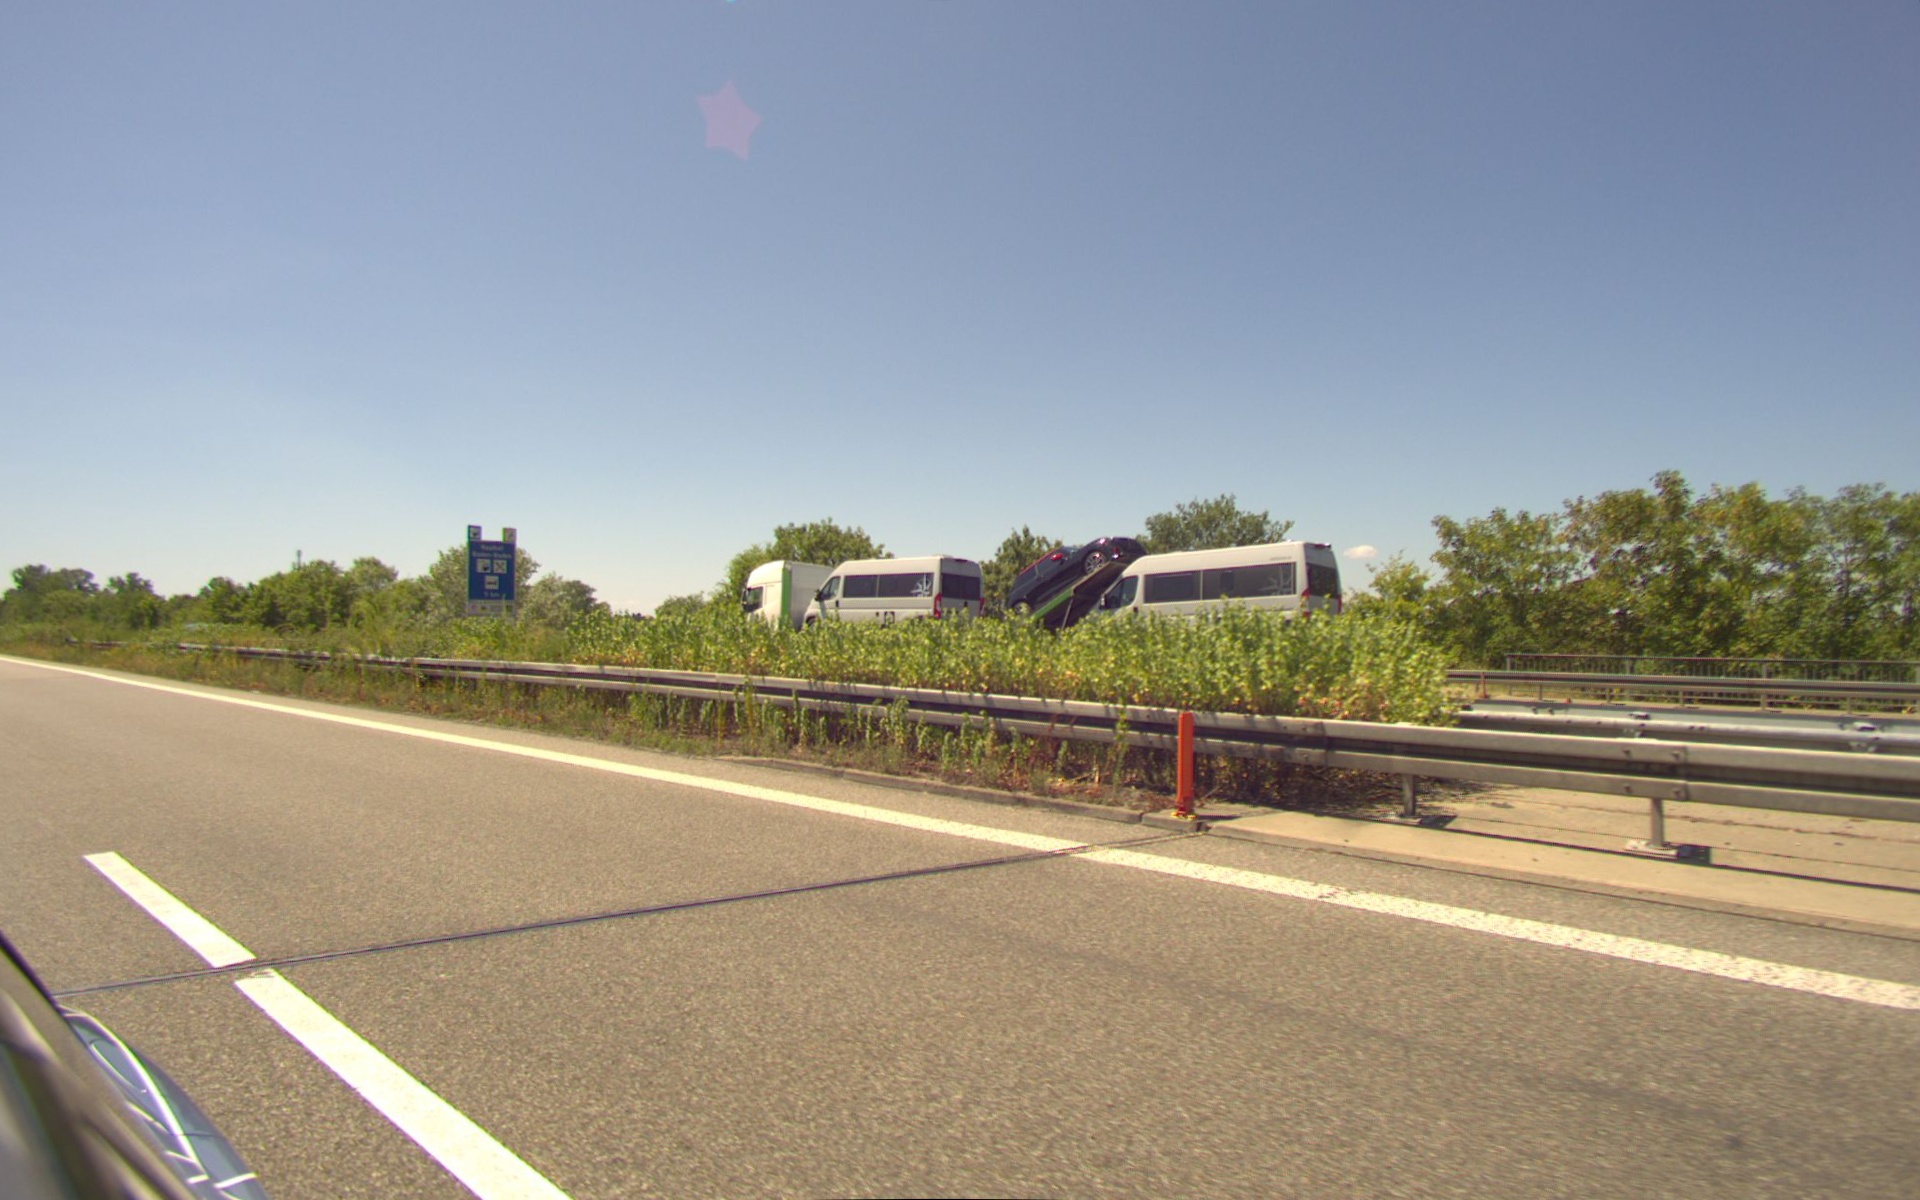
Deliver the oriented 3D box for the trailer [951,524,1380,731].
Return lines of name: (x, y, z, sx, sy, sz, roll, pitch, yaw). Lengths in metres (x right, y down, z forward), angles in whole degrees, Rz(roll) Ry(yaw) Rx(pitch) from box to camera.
trailer: (4.415, 0.632, 23.855, 9.651, 4.021, 2.896, -2, -1, 40)

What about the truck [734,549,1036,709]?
truck: (-2.511, 0.834, 29.752, 9.618, 4.021, 2.887, -2, -1, 41)
